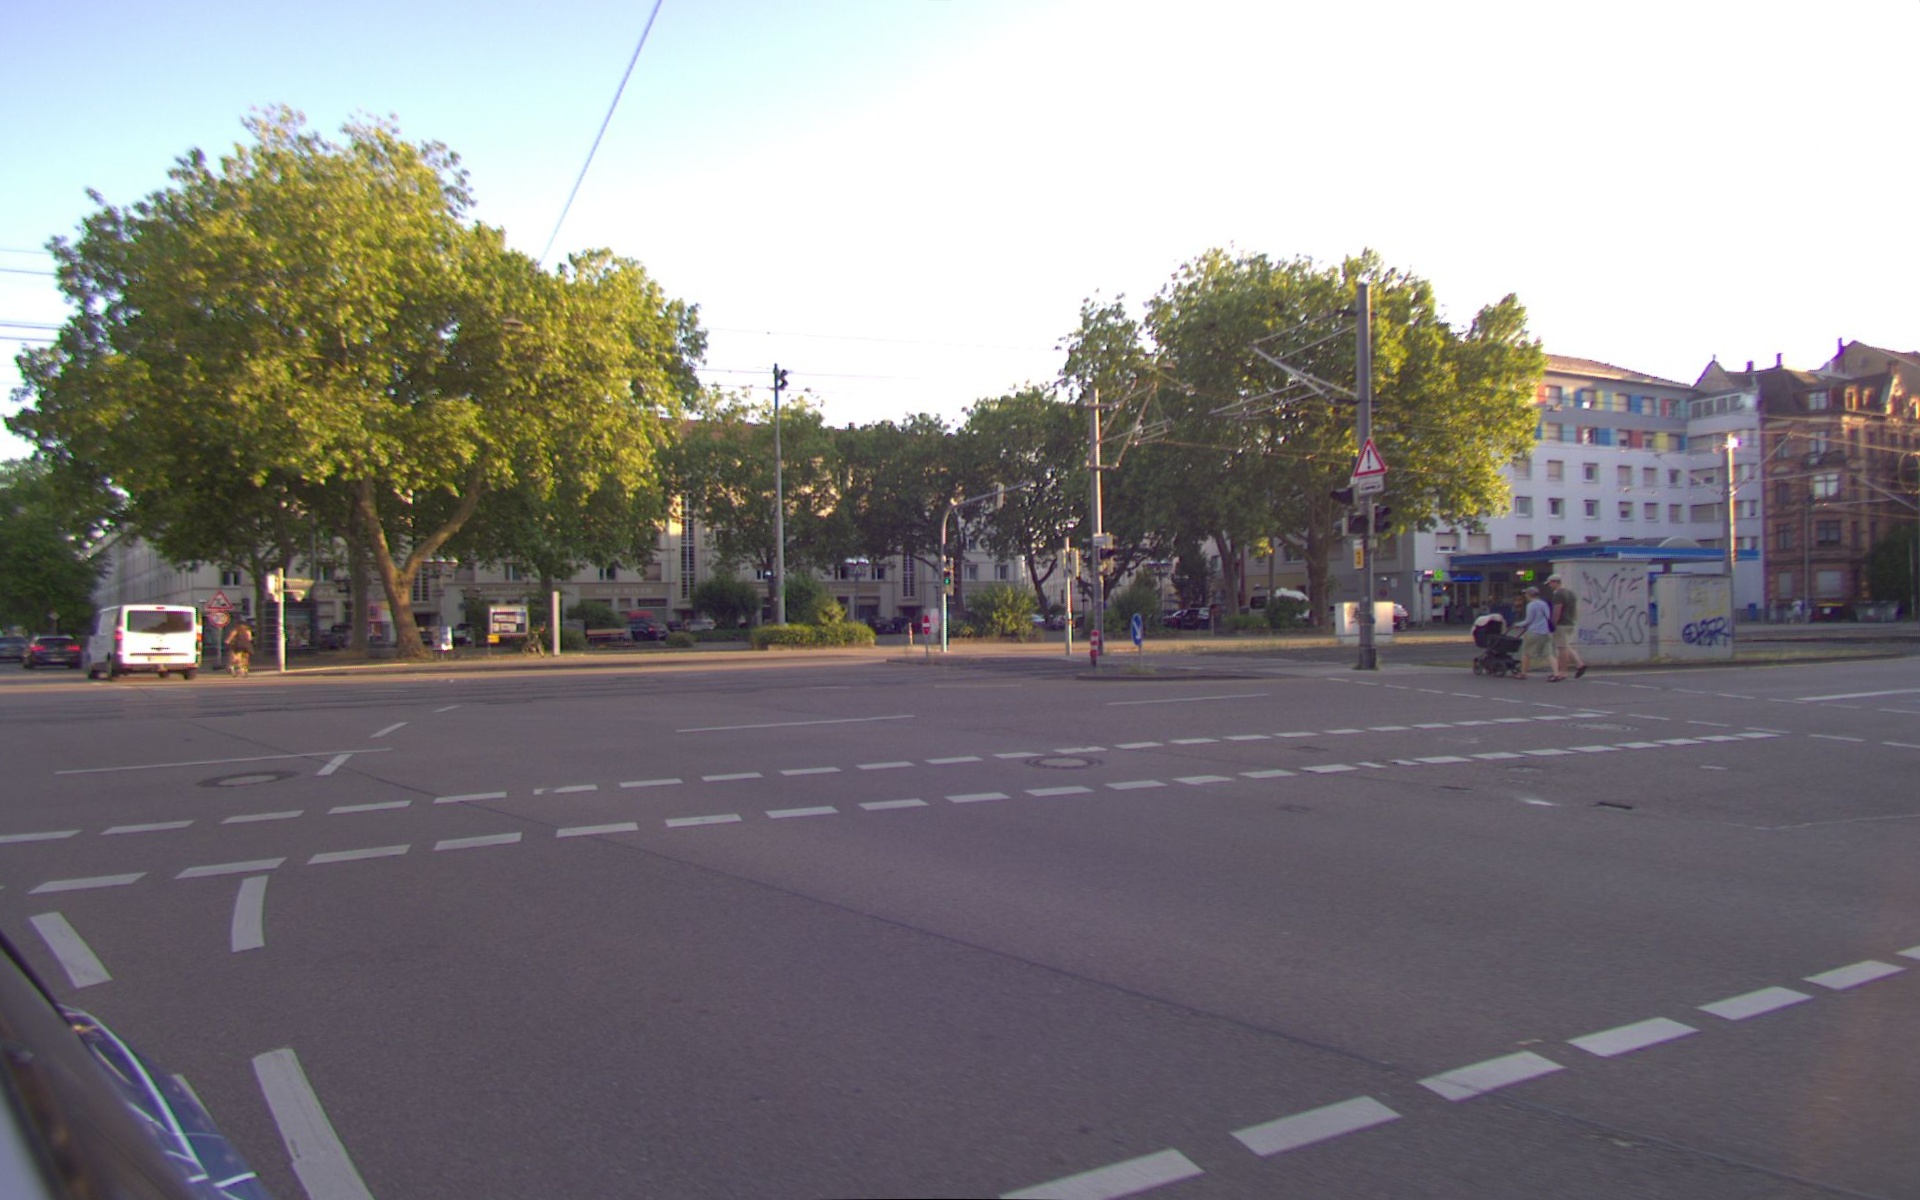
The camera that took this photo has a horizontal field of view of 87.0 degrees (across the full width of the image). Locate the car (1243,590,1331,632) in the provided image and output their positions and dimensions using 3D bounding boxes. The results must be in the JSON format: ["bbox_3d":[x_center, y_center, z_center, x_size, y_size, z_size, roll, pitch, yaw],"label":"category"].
[{"bbox_3d":[21.342,0.710,66.029,5.483,2.638,2.006,-1,-1,-25],"label":"car"}]

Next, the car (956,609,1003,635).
[{"bbox_3d":[1.408,1.627,74.958,1.965,1.851,4.331,-1,-1,-22],"label":"car"}]

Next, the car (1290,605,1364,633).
[{"bbox_3d":[21.905,1.110,60.399,3.931,1.586,1.789,-1,-1,-21],"label":"car"}]

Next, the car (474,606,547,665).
[{"bbox_3d":[-16.638,1.276,37.344,1.837,2.029,3.820,0,-1,-34],"label":"car"}]

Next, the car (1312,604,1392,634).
[{"bbox_3d":[22.379,1.086,57.817,3.931,1.625,2.006,-1,-1,-21],"label":"car"}]

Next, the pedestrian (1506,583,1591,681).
[{"bbox_3d":[10.183,0.548,17.536,0.708,1.646,1.010,0,-1,-28],"label":"pedestrian"}]

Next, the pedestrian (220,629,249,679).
[{"bbox_3d":[-24.643,1.821,34.379,0.734,1.641,0.662,-1,-1,-31],"label":"pedestrian"}]

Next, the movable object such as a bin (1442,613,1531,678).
[{"bbox_3d":[9.656,0.820,18.598,0.847,1.128,1.141,0,-1,-28],"label":"movable object such as a bin"}]

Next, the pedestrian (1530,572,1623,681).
[{"bbox_3d":[10.910,0.459,17.927,0.699,1.861,1.163,0,-1,-28],"label":"pedestrian"}]

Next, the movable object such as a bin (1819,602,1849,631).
[{"bbox_3d":[62.407,1.179,72.299,1.491,2.029,1.342,-2,-2,38],"label":"movable object such as a bin"}]

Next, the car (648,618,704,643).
[{"bbox_3d":[-20.879,2.229,74.537,3.932,1.719,2.006,-1,-1,-15],"label":"car"}]

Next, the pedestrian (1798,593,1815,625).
[{"bbox_3d":[53.383,0.579,63.792,0.598,2.029,0.560,0,-1,-23],"label":"pedestrian"}]

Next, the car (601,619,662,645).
[{"bbox_3d":[-22.930,2.208,70.722,3.932,1.719,2.006,-1,-1,-15],"label":"car"}]

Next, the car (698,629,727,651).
[{"bbox_3d":[-21.004,3.340,85.816,1.965,1.752,4.013,-1,-1,-21],"label":"car"}]

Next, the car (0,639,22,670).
[{"bbox_3d":[-52.445,2.969,55.160,1.769,1.592,4.002,0,-2,-45],"label":"car"}]

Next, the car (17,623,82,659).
[{"bbox_3d":[-40.001,1.780,44.430,1.970,1.470,4.002,0,-2,-45],"label":"car"}]

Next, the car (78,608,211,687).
[{"bbox_3d":[-22.268,1.259,27.572,4.592,1.971,1.967,-2,-2,40],"label":"car"}]
